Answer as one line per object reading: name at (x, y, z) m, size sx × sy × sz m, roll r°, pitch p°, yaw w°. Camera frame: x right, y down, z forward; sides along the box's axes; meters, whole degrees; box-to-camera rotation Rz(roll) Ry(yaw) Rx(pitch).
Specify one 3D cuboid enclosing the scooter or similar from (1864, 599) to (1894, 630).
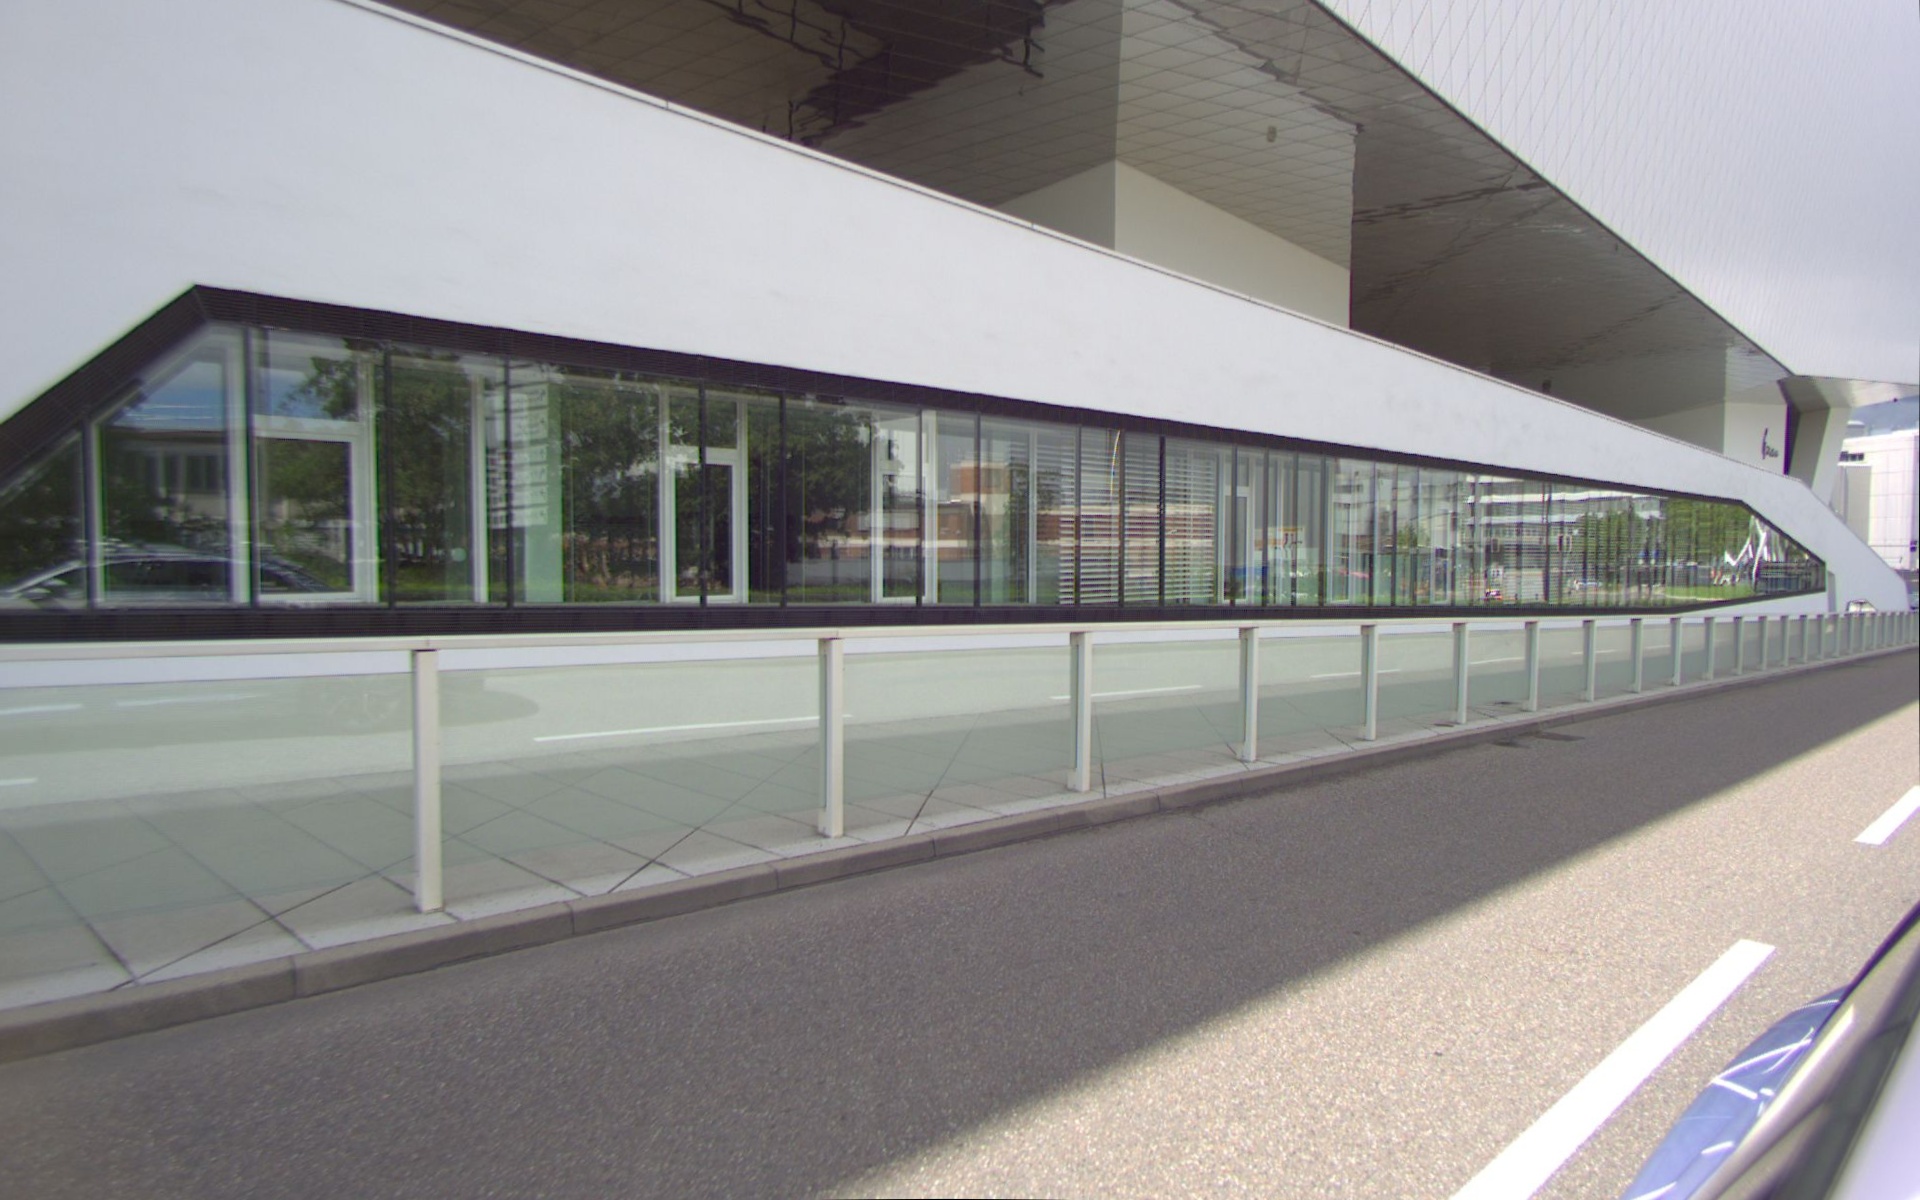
scooter or similar at (39.885, 0.613, 43.906) m, size 1.918 × 1.258 × 0.708 m, roll -1°, pitch 2°, yaw -41°

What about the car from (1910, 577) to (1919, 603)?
car at (71.734, -0.705, 73.479) m, size 2.139 × 1.934 × 5.267 m, roll 1°, pitch 2°, yaw 22°
